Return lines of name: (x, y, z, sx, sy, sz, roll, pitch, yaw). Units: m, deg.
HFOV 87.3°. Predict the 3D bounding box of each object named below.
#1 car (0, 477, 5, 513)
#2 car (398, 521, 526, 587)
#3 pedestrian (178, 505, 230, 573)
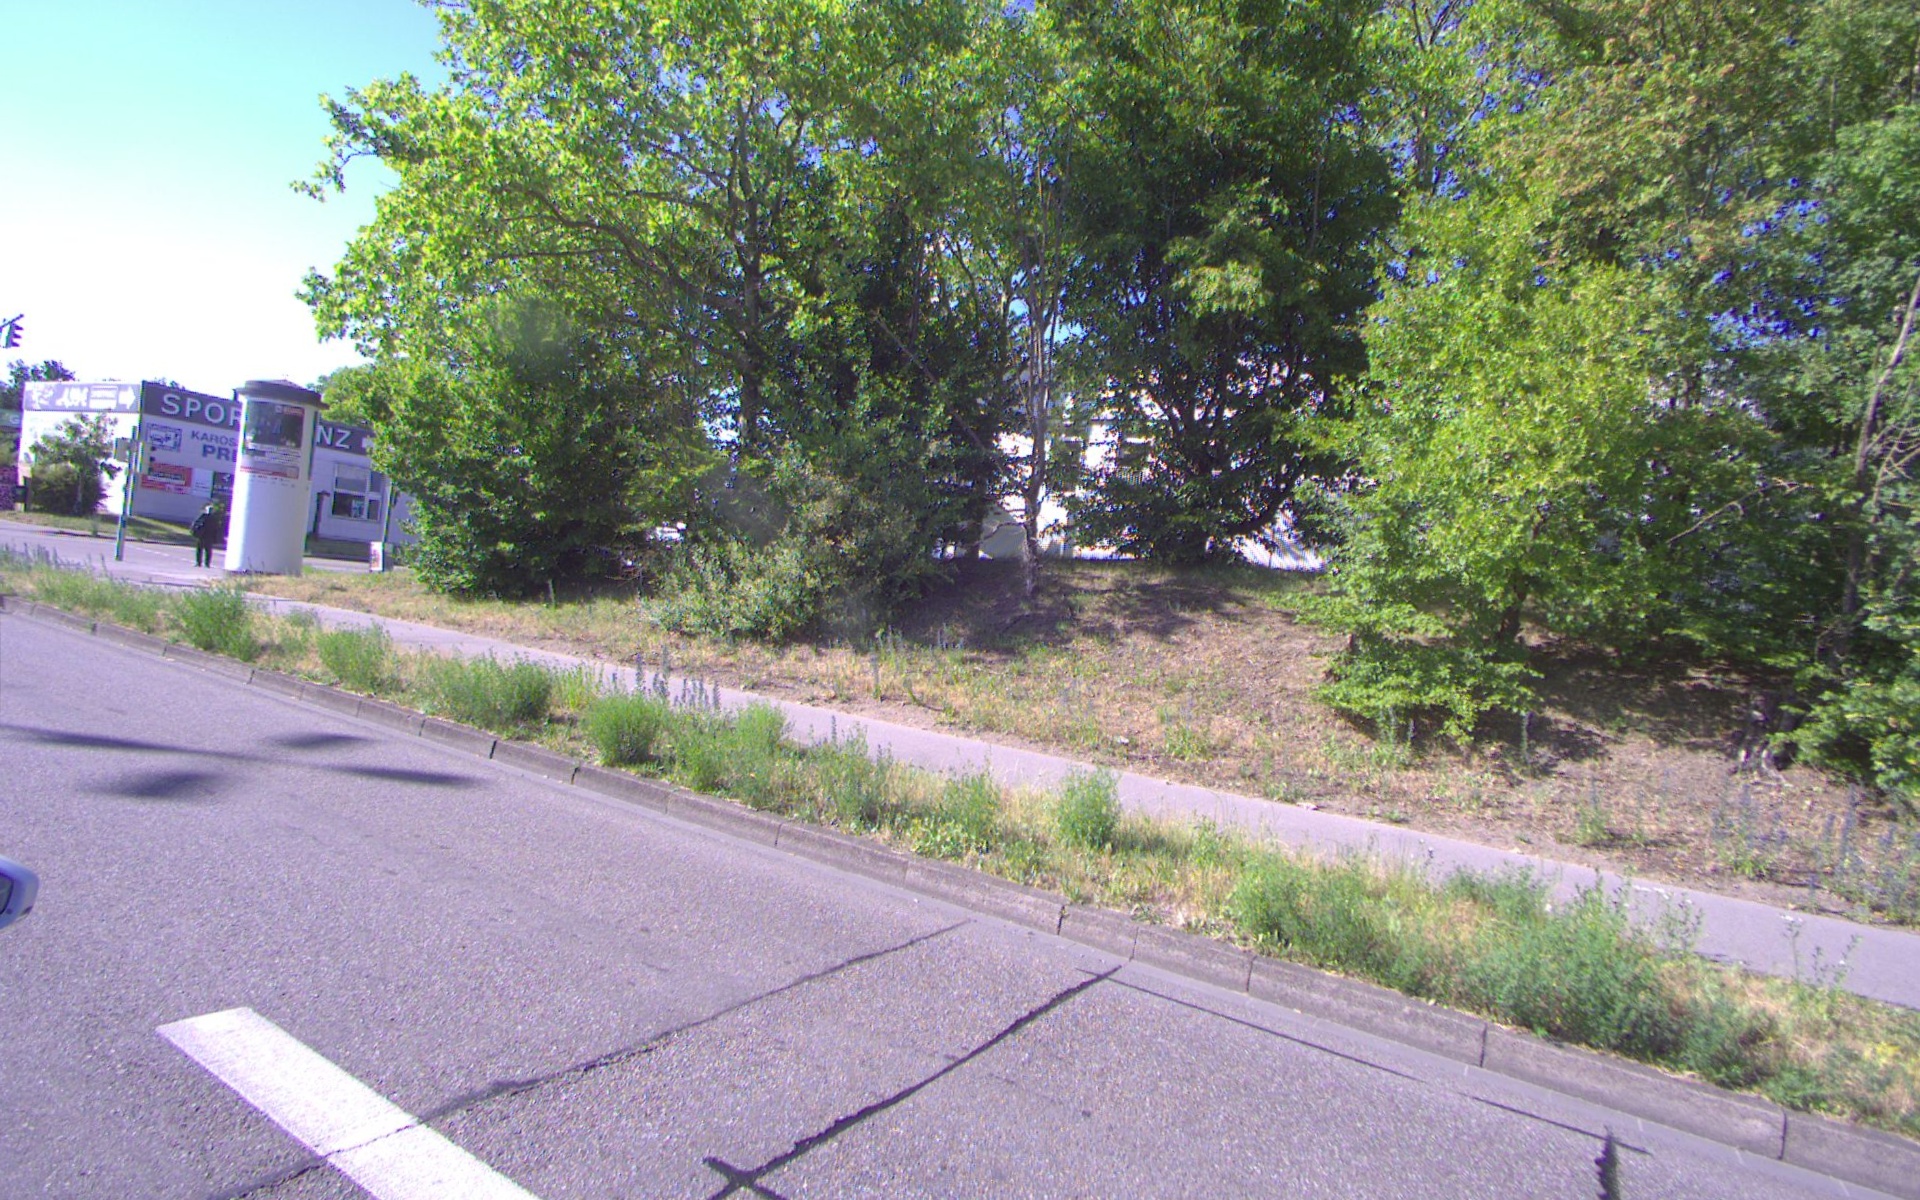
car: (-48.286, -5.344, 47.668, 1.663, 1.726, 4.003, 7, -1, 16)
car: (-21.250, -1.934, 43.127, 1.965, 2.171, 4.415, 7, -1, 28)
pedestrian: (-21.053, -1.699, 28.007, 0.841, 1.743, 0.822, 7, 0, 39)
